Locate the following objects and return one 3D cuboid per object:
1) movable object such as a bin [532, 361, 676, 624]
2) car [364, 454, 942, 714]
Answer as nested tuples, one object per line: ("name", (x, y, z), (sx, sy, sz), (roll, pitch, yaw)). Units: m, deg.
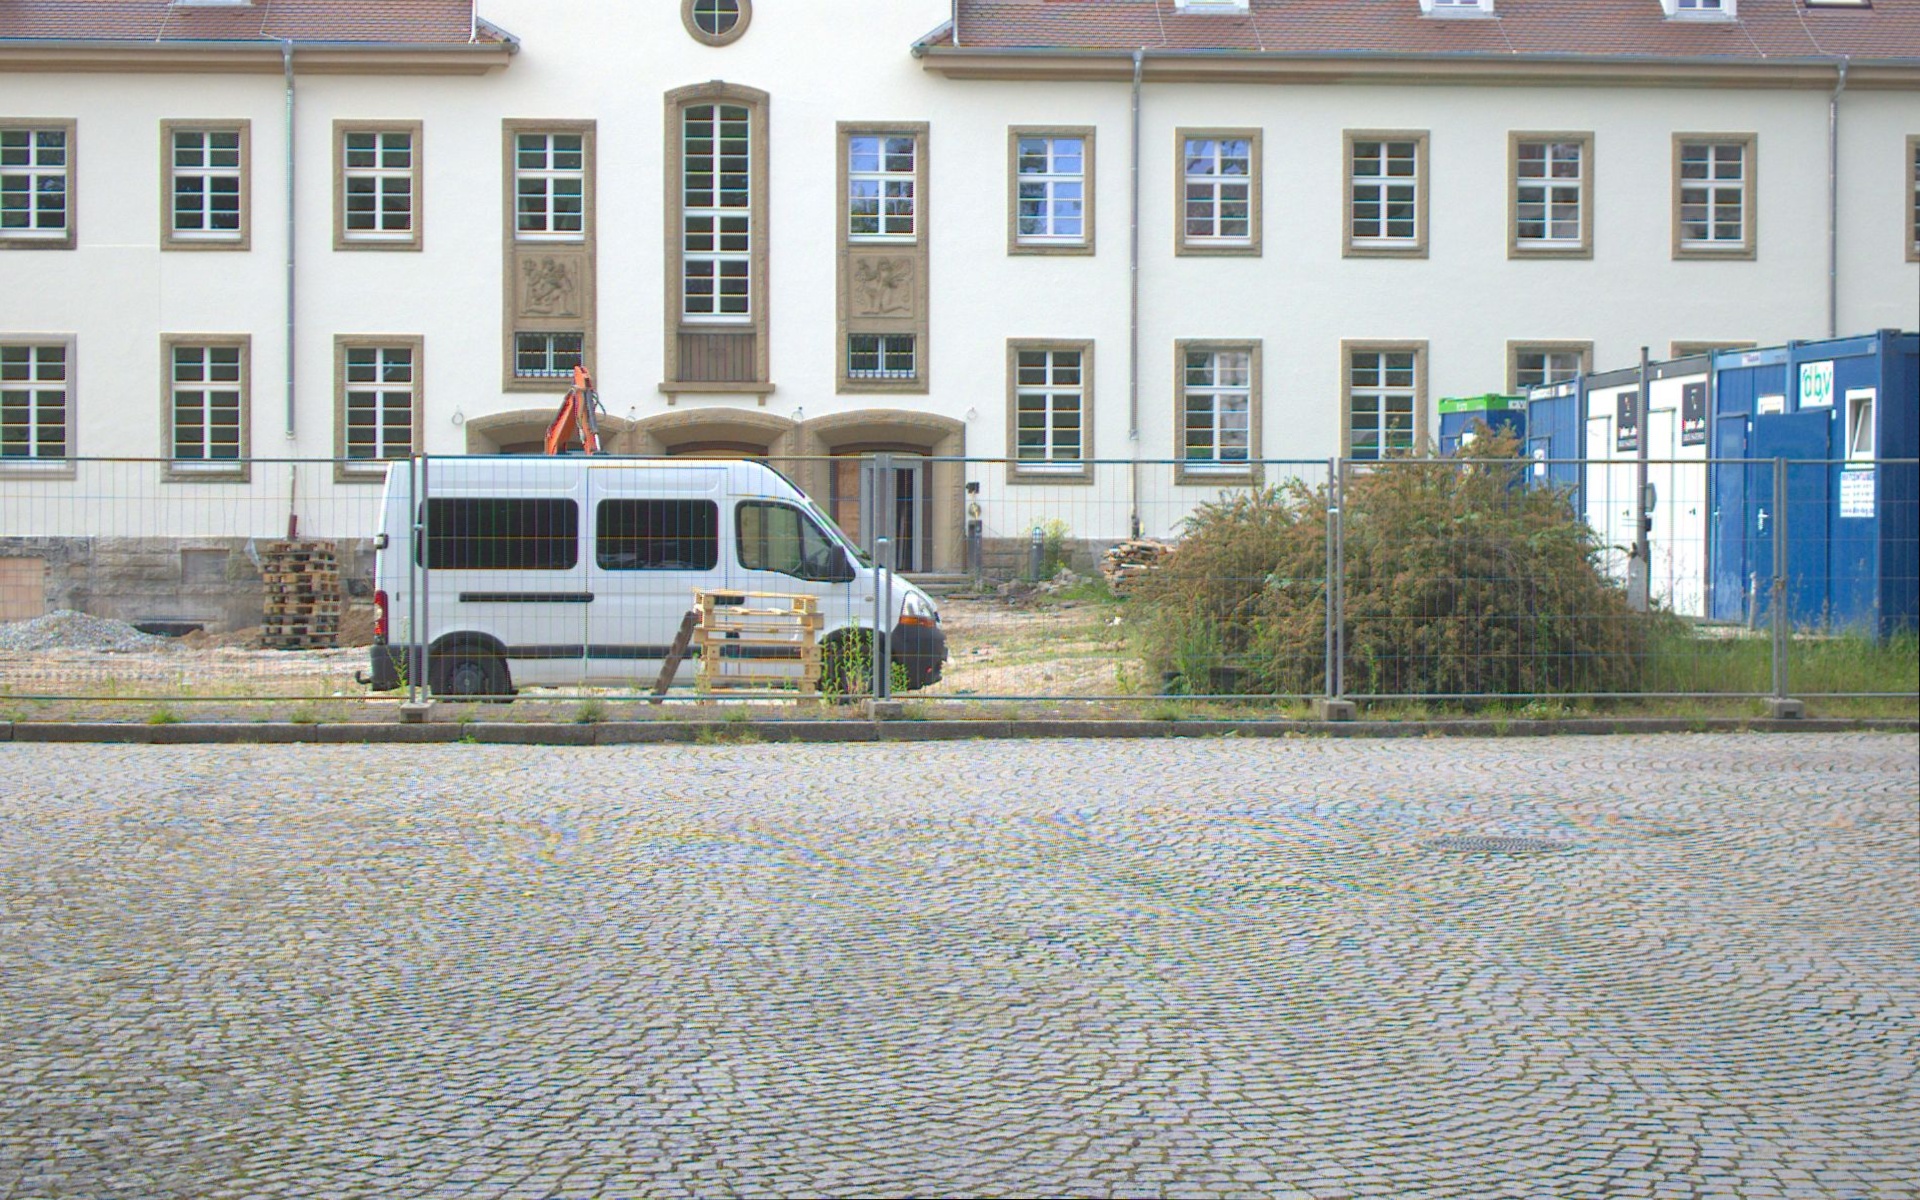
("movable object such as a bin", (-5.451, -1.596, 52.153), (1.993, 3.758, 5.319), (0, 1, -8))
("car", (-2.840, -0.157, 32.400), (5.262, 2.336, 1.910), (0, 1, -2))
